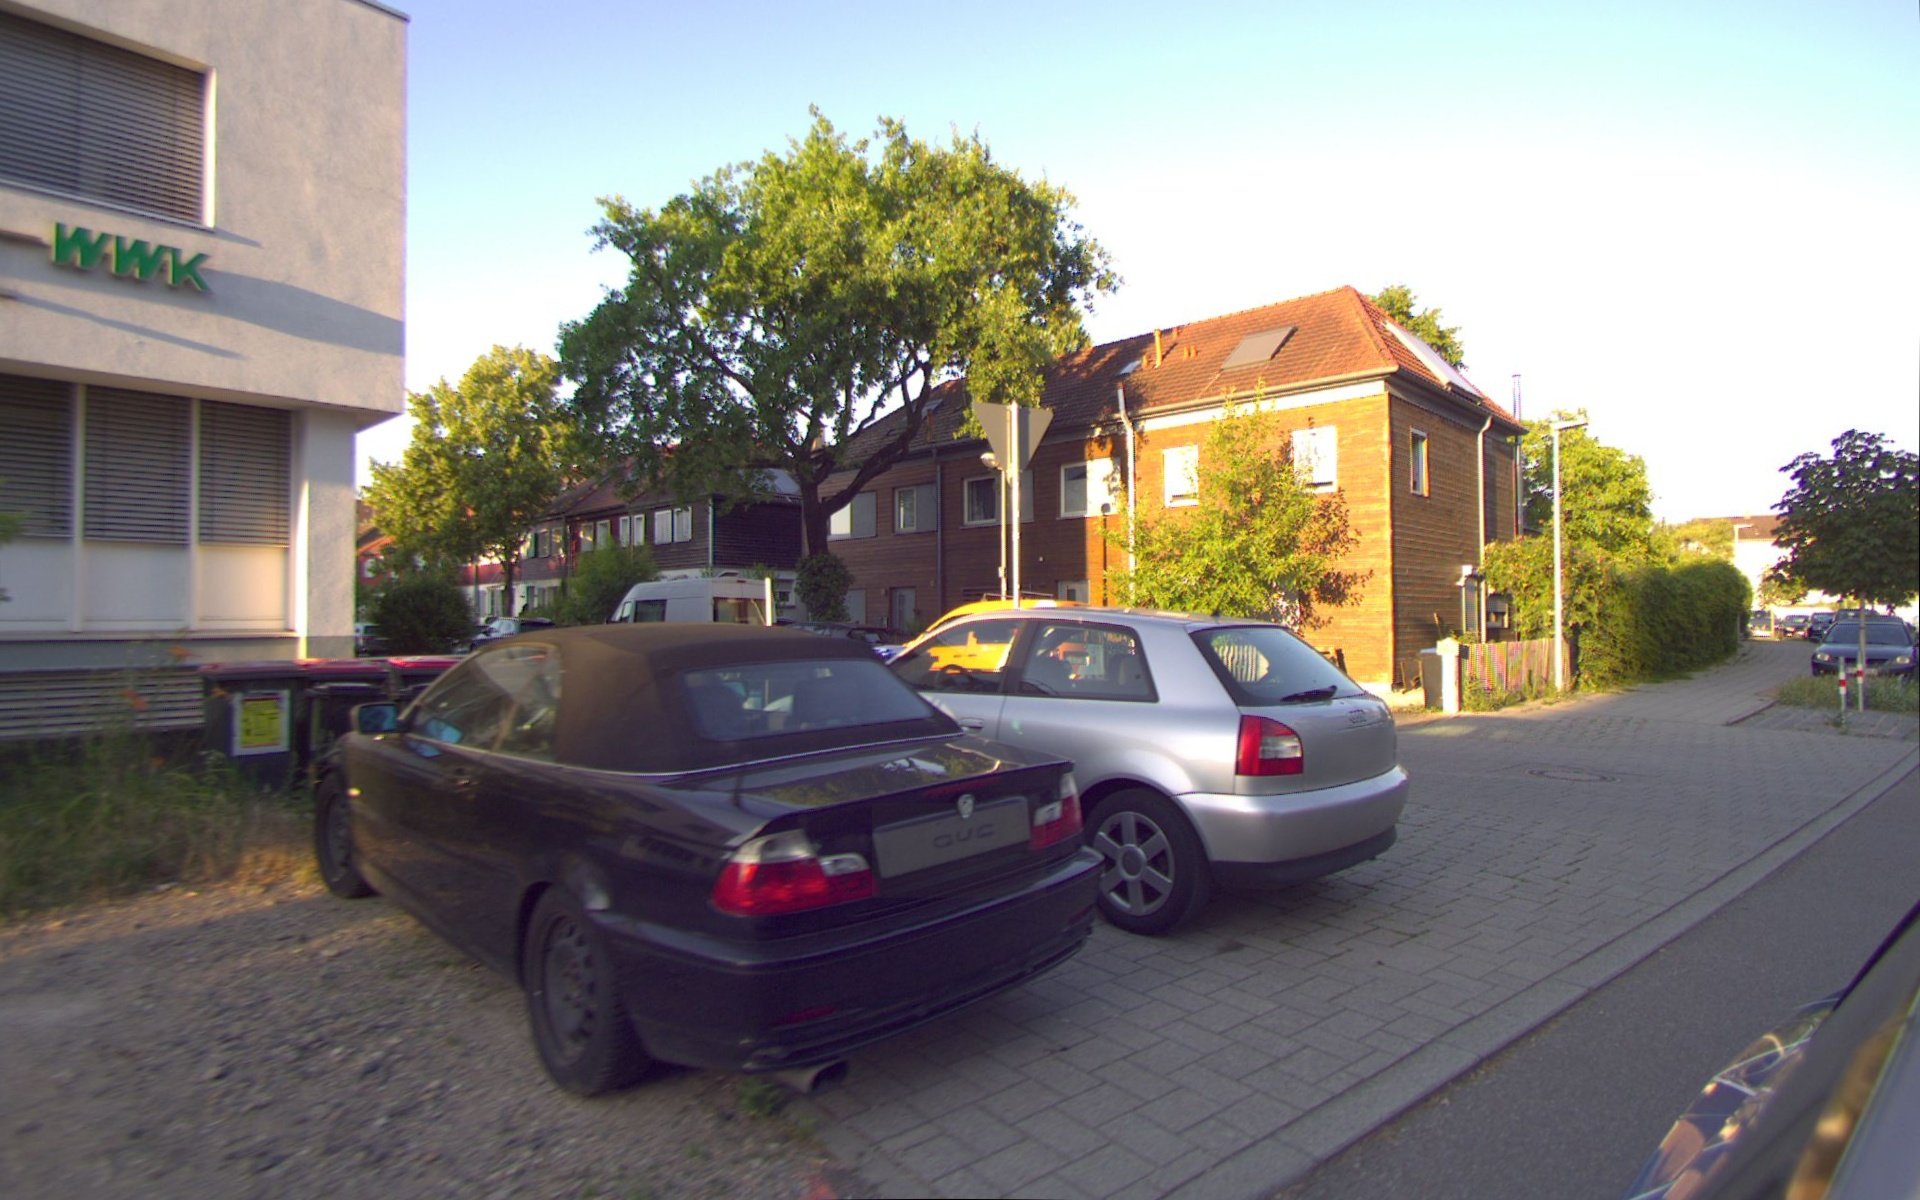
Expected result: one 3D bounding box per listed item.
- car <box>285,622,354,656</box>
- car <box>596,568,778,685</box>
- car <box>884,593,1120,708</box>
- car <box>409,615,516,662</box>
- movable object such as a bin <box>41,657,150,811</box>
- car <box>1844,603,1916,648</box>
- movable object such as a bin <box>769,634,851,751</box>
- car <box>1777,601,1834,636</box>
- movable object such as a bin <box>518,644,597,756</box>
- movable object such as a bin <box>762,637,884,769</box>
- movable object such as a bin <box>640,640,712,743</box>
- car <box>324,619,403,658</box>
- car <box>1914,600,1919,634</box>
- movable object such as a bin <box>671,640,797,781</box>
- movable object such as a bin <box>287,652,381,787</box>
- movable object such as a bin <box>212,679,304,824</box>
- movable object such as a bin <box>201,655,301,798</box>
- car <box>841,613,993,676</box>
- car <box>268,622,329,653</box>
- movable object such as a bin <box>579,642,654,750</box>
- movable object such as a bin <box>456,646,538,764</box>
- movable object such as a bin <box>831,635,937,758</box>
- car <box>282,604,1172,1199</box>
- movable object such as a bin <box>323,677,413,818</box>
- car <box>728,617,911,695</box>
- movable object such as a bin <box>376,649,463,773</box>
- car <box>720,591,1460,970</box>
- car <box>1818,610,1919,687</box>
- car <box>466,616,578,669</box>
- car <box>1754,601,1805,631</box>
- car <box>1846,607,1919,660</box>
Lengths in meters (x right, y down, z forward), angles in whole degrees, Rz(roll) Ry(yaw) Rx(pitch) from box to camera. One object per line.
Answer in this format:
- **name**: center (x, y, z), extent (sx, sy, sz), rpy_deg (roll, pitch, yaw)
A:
- **car**: center (-30.856, 1.849, 48.729), extent (3.595, 1.576, 1.928), rpy_deg (-1, -3, 42)
- **car**: center (-6.742, 0.653, 24.756), extent (4.735, 2.593, 2.065), rpy_deg (-1, -3, 42)
- **car**: center (0.667, 0.834, 17.696), extent (3.937, 1.789, 1.755), rpy_deg (-1, -3, 42)
- **car**: center (-17.559, 1.330, 35.645), extent (4.247, 1.576, 1.927), rpy_deg (-1, -3, 42)
- **movable object such as a bin**: center (-5.797, 0.872, 6.790), extent (0.467, 0.943, 0.518), rpy_deg (-1, -1, 44)
- **car**: center (32.283, 0.856, 35.512), extent (1.765, 1.481, 4.300), rpy_deg (-1, -1, 43)
- **movable object such as a bin**: center (-1.405, 0.841, 9.464), extent (0.642, 1.034, 0.440), rpy_deg (-2, -2, 39)
- **car**: center (38.370, 0.811, 45.908), extent (1.765, 1.481, 4.300), rpy_deg (-1, -1, 43)
- **movable object such as a bin**: center (-3.628, 0.882, 9.121), extent (0.467, 0.943, 0.518), rpy_deg (-1, -1, 44)
- **movable object such as a bin**: center (-1.163, 0.842, 8.609), extent (0.754, 1.034, 0.702), rpy_deg (-2, -2, 39)
- **movable object such as a bin**: center (-2.787, 0.878, 9.929), extent (0.467, 0.943, 0.518), rpy_deg (-1, -1, 44)
- **car**: center (-25.756, 1.636, 43.668), extent (3.595, 1.576, 1.928), rpy_deg (-1, -3, 42)
- **car**: center (46.787, 0.822, 47.928), extent (1.754, 1.641, 4.716), rpy_deg (-1, -1, 37)
- **movable object such as a bin**: center (-1.804, 0.846, 8.088), extent (0.703, 1.034, 0.702), rpy_deg (-2, -2, 39)
- **movable object such as a bin**: center (-4.780, 0.890, 7.730), extent (0.467, 0.943, 0.518), rpy_deg (-1, -1, 44)
- **movable object such as a bin**: center (-4.614, 0.975, 6.653), extent (0.475, 0.868, 0.390), rpy_deg (-2, -2, 41)
- **movable object such as a bin**: center (-5.123, 0.892, 7.313), extent (0.467, 0.943, 0.518), rpy_deg (-1, -1, 44)
- **car**: center (-1.086, 1.102, 26.342), extent (3.548, 1.474, 1.953), rpy_deg (0, -1, -43)
- **car**: center (-34.113, 1.915, 52.170), extent (3.595, 1.576, 1.781), rpy_deg (-1, -3, 42)
- **movable object such as a bin**: center (-3.222, 0.880, 9.503), extent (0.467, 0.943, 0.518), rpy_deg (-1, -1, 44)
- **movable object such as a bin**: center (-3.983, 0.885, 8.706), extent (0.467, 0.943, 0.518), rpy_deg (-1, -1, 44)
- **movable object such as a bin**: center (-0.679, 0.838, 9.119), extent (0.642, 1.034, 0.702), rpy_deg (-2, -2, 39)
- **car**: center (-1.416, 0.715, 4.466), extent (1.865, 1.350, 4.317), rpy_deg (0, 0, -44)
- **movable object such as a bin**: center (-3.976, 0.968, 6.796), extent (0.498, 0.868, 0.390), rpy_deg (-2, -2, 41)
- **car**: center (-2.969, 1.111, 21.099), extent (3.595, 1.474, 1.928), rpy_deg (-1, -3, 42)
- **movable object such as a bin**: center (-4.426, 0.887, 8.293), extent (0.467, 0.943, 0.518), rpy_deg (-1, -1, 44)
- **car**: center (0.481, 0.682, 5.965), extent (1.865, 1.425, 4.057), rpy_deg (1, 0, -45)
- **car**: center (19.848, 0.964, 21.777), extent (4.295, 1.481, 1.677), rpy_deg (0, -1, -44)
- **car**: center (-13.903, 1.331, 32.077), extent (3.595, 1.576, 1.928), rpy_deg (-1, -3, 42)
- **car**: center (42.212, 0.786, 52.091), extent (1.765, 1.481, 4.300), rpy_deg (-1, -1, 43)
- **car**: center (28.044, 0.946, 30.585), extent (1.765, 1.481, 4.300), rpy_deg (-1, -1, 43)
